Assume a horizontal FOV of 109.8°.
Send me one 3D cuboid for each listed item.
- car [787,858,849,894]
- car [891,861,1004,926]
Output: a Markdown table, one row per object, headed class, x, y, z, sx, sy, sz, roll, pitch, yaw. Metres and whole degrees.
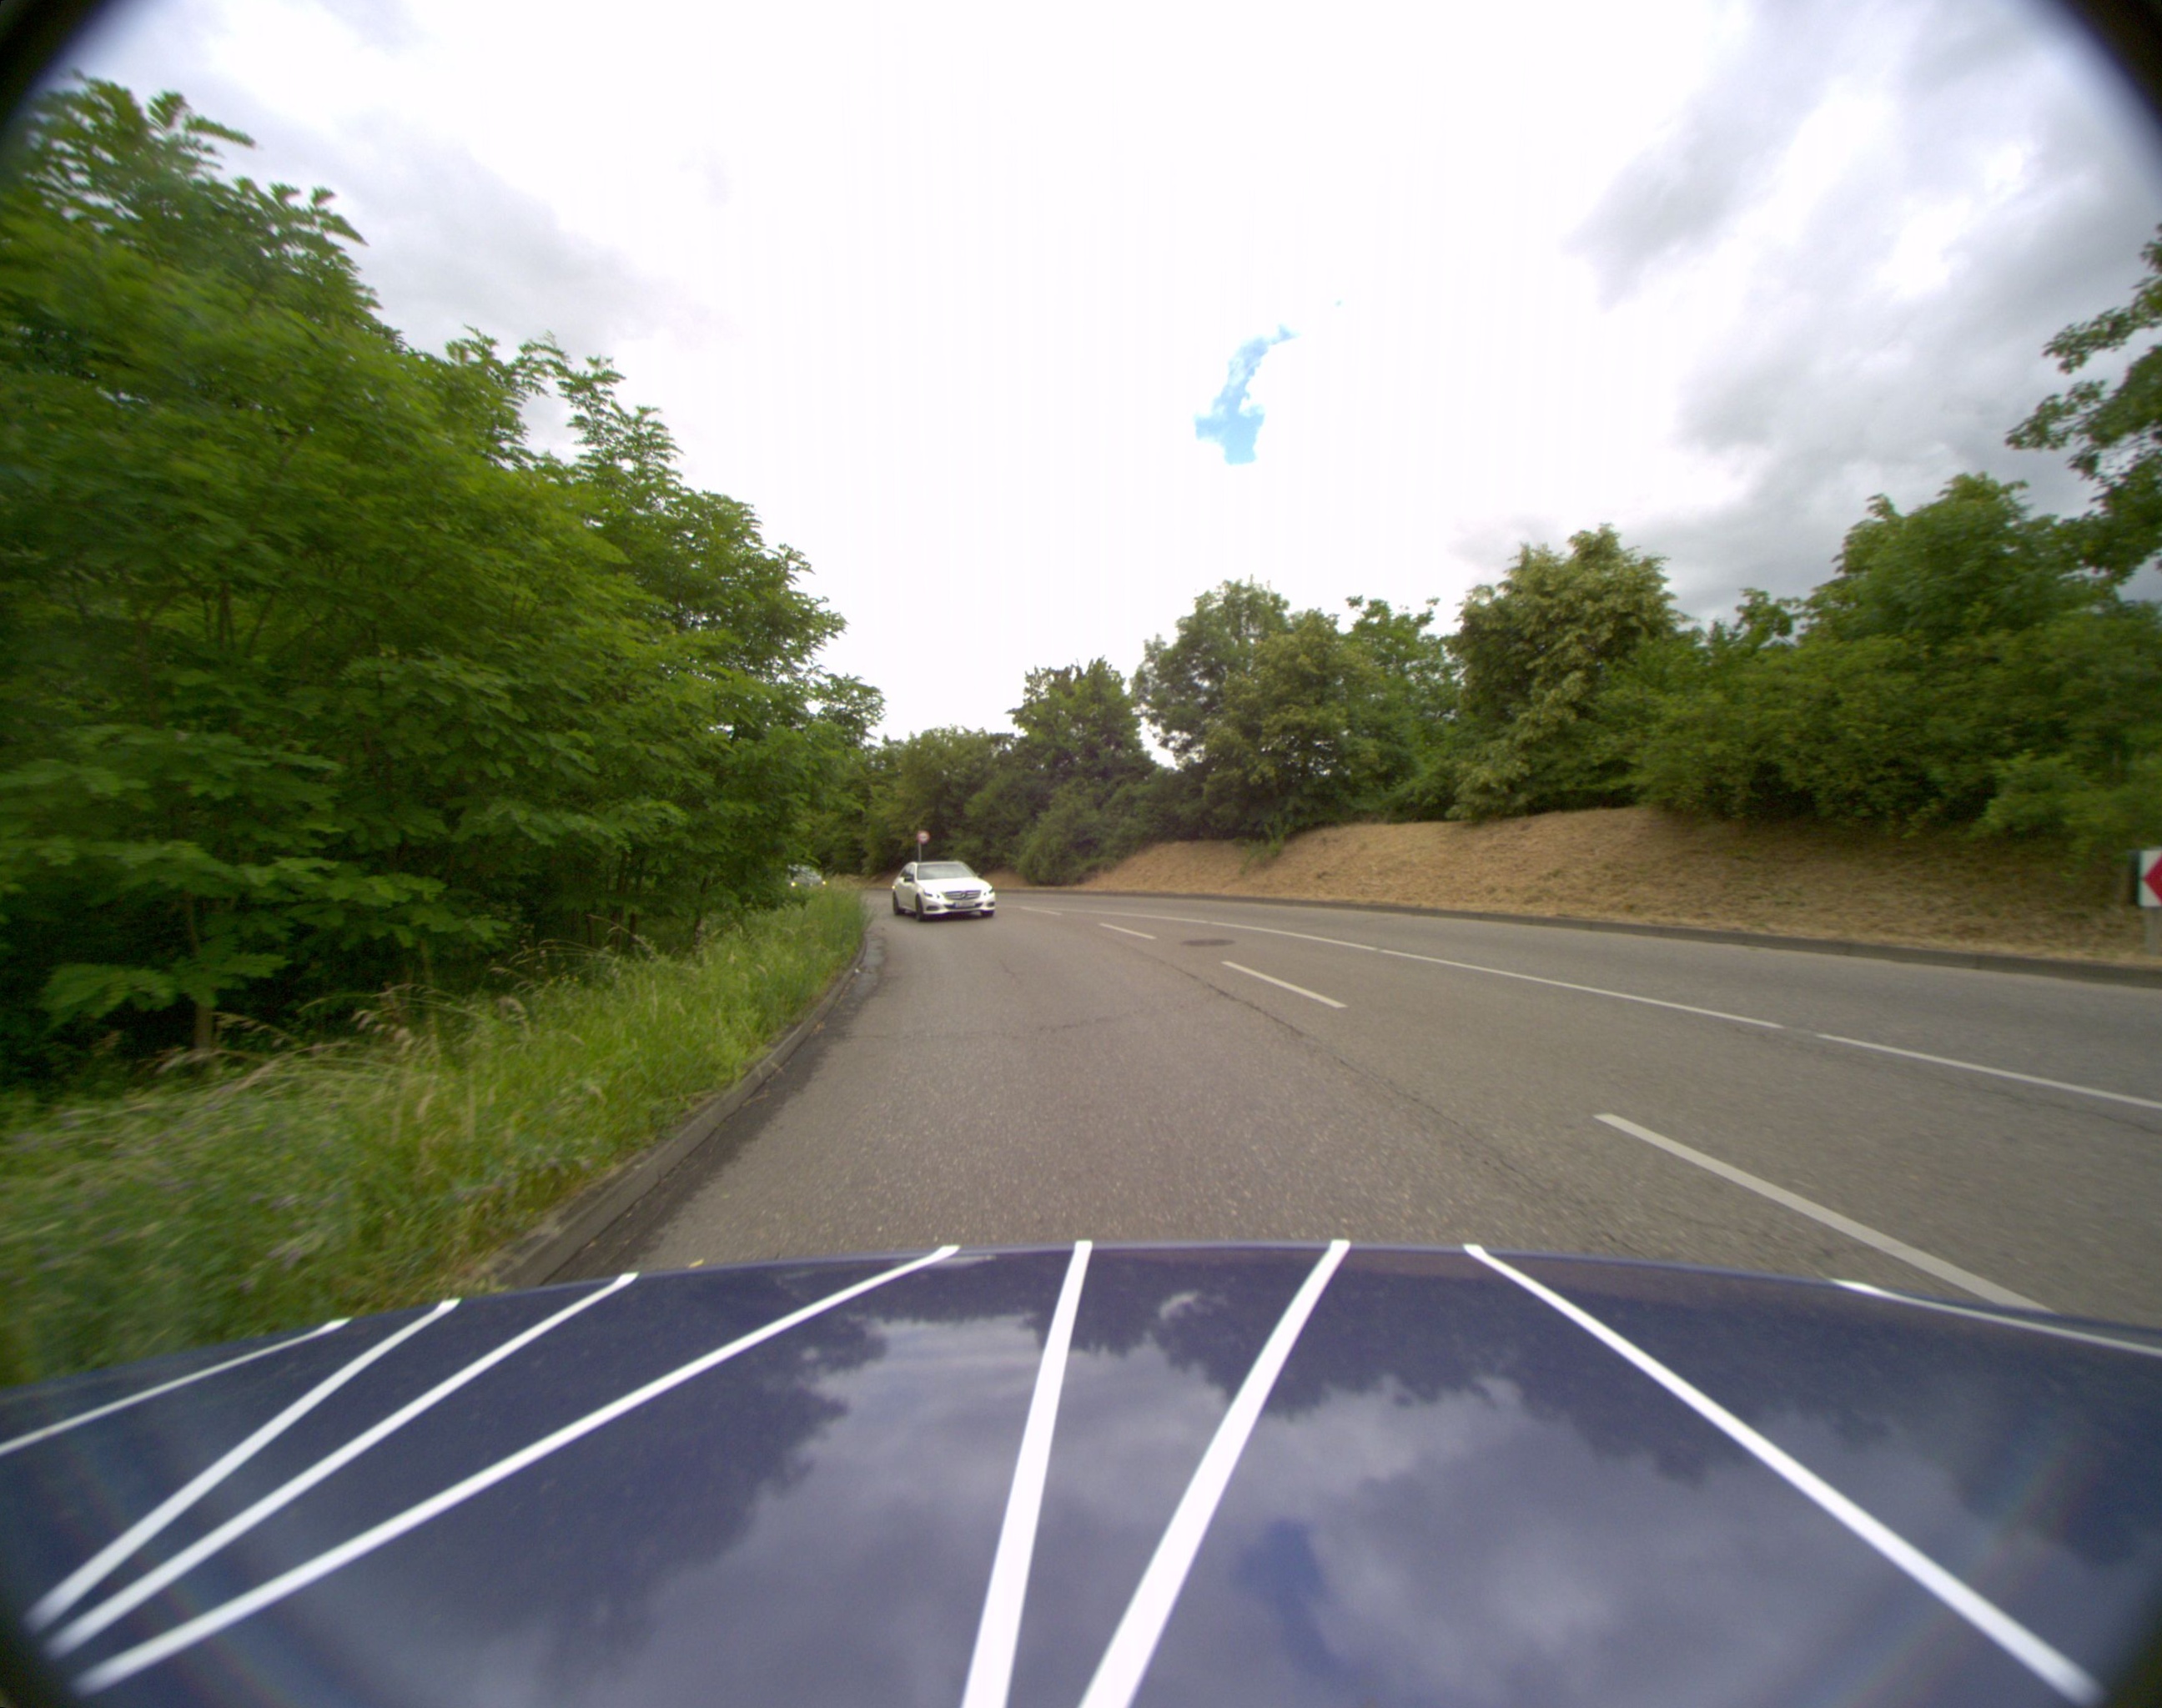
| class | x | y | z | sx | sy | sz | roll | pitch | yaw |
| --- | --- | --- | --- | --- | --- | --- | --- | --- | --- |
| car | -12.049 | 0.994 | 34.663 | 1.827 | 1.535 | 3.717 | 0 | -2 | -33 |
| car | -3.575 | 0.940 | 19.747 | 1.891 | 1.414 | 3.992 | -3 | 1 | -24 |
